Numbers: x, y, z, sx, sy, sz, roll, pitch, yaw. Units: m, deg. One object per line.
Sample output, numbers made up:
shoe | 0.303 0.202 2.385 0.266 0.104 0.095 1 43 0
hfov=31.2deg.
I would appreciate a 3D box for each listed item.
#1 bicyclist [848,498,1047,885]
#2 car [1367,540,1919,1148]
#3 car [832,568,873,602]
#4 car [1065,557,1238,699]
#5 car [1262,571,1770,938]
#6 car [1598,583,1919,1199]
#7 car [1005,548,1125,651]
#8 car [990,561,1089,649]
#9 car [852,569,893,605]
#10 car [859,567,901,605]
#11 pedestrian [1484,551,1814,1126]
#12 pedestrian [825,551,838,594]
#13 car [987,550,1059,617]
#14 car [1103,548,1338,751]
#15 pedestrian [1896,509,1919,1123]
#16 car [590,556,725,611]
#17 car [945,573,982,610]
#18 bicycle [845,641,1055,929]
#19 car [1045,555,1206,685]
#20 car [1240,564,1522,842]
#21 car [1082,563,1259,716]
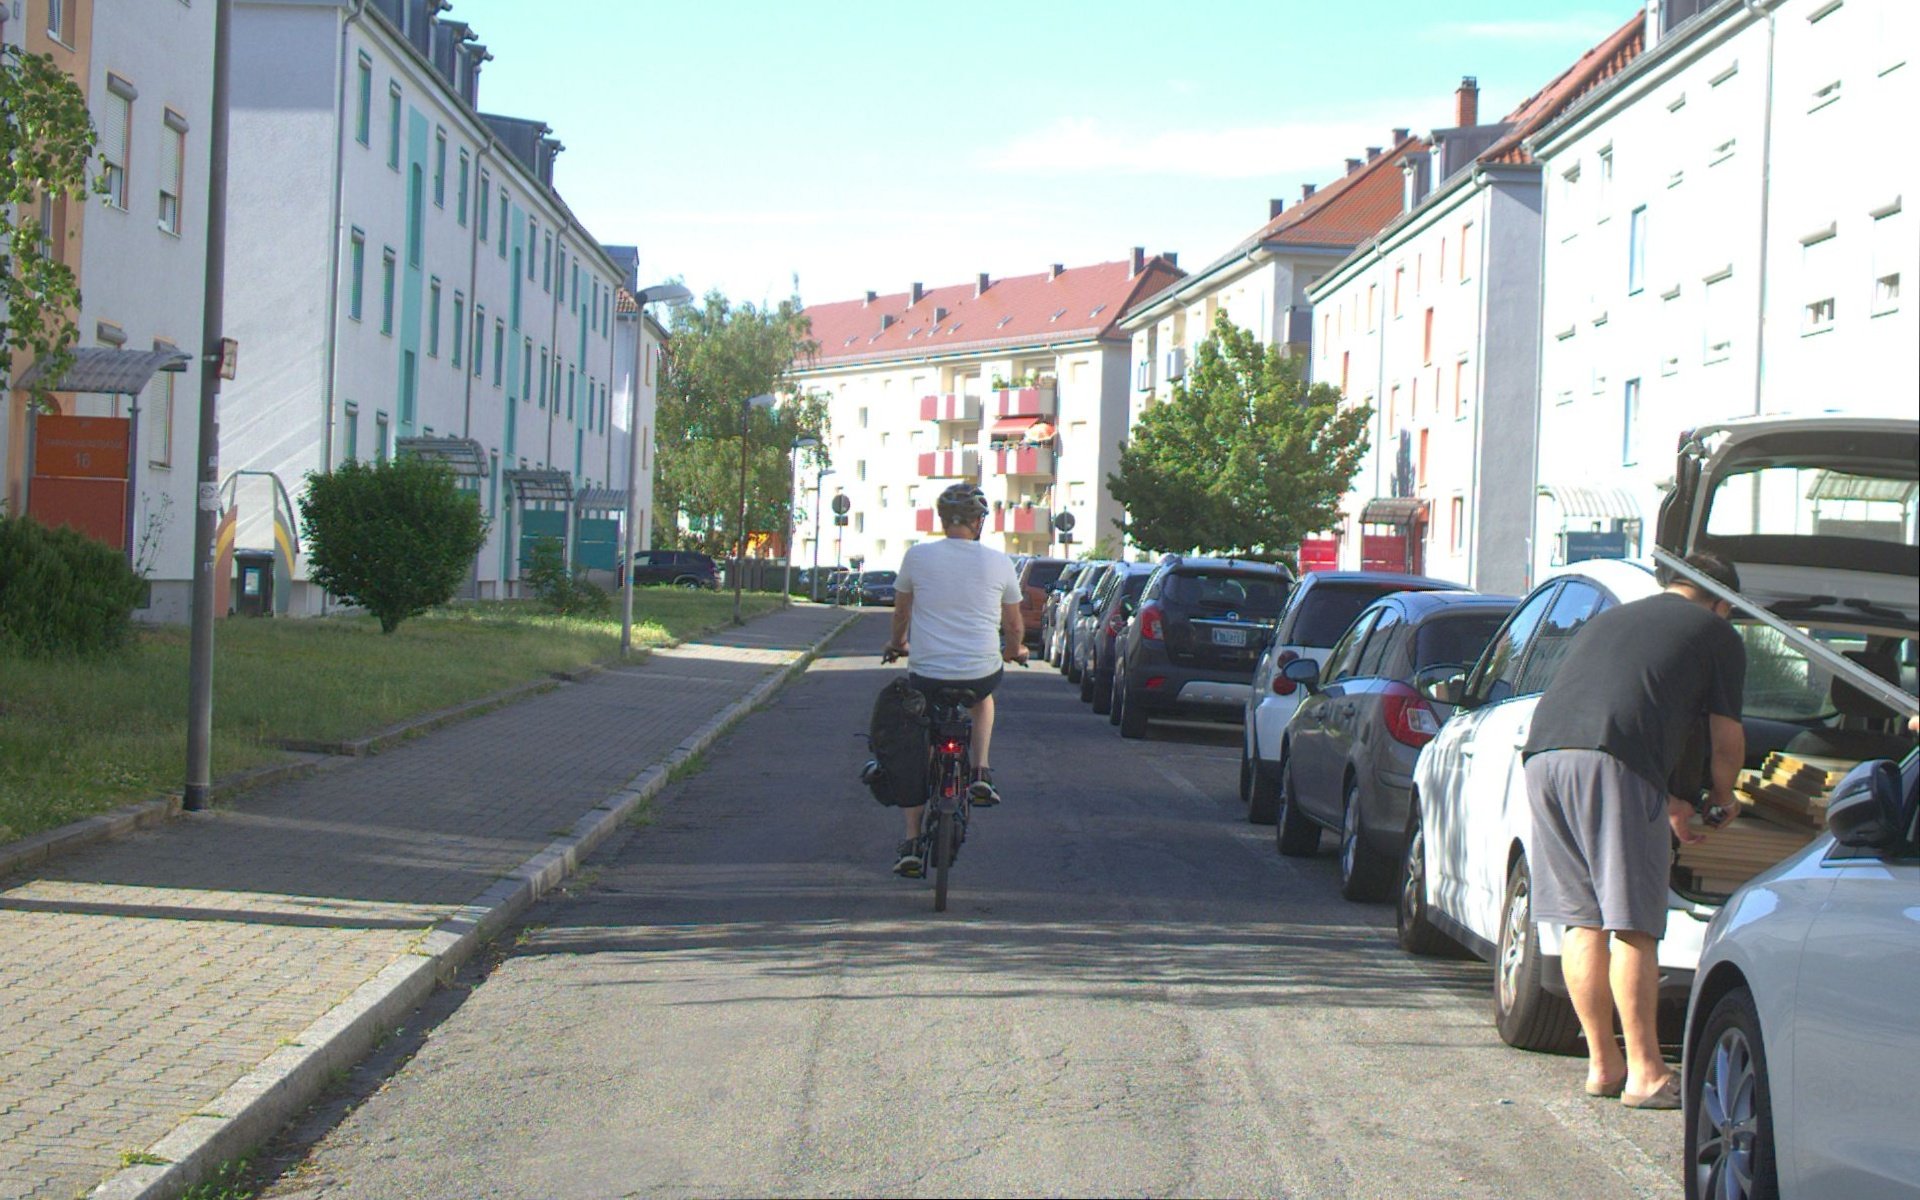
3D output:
bicyclist | -0.069 0.385 15.100 0.808 1.638 0.899 1 0 -3
car | 2.694 0.669 11.938 1.994 1.607 4.995 4 1 1
car | -4.373 -0.620 139.594 1.469 1.331 3.141 -2 1 -4
car | 2.316 0.302 42.505 1.690 1.569 4.435 3 1 -2
car | 2.628 0.666 17.150 1.693 1.486 3.985 4 1 -2
car | 2.518 0.777 5.906 1.772 1.499 4.481 3 1 -2
car | 1.841 -0.025 61.223 1.862 1.662 4.127 4 0 -1
car | 1.639 0.075 72.010 1.700 1.665 4.380 3 1 -2
car | -3.393 -0.521 132.933 1.469 1.331 3.141 2 1 -3
car | -2.996 -0.526 128.911 1.469 1.331 3.141 2 1 -3
pedestrian | 1.958 0.650 9.870 0.739 1.569 0.880 1 1 -1
pedestrian | -4.673 -1.000 124.935 0.434 1.569 0.543 2 1 -1
car | 1.725 -0.479 95.528 1.674 1.733 3.943 3 1 -3
car | 2.332 0.400 31.801 1.783 1.642 4.468 3 1 0
pedestrian | 3.044 0.596 9.316 0.819 1.681 0.604 1 1 -1
car | -9.646 -0.536 109.798 4.231 1.633 1.583 2 1 -4
car | 0.128 -0.357 144.823 1.381 1.492 3.077 2 1 -3
bicycle | -0.077 0.774 15.188 0.808 1.124 2.102 1 1 -3
car | 2.288 0.237 48.557 1.750 1.612 4.452 4 1 -3
car | 2.588 0.589 21.625 1.480 1.524 2.940 4 1 3
car | 2.205 0.374 36.898 1.641 1.493 4.156 2 1 0
